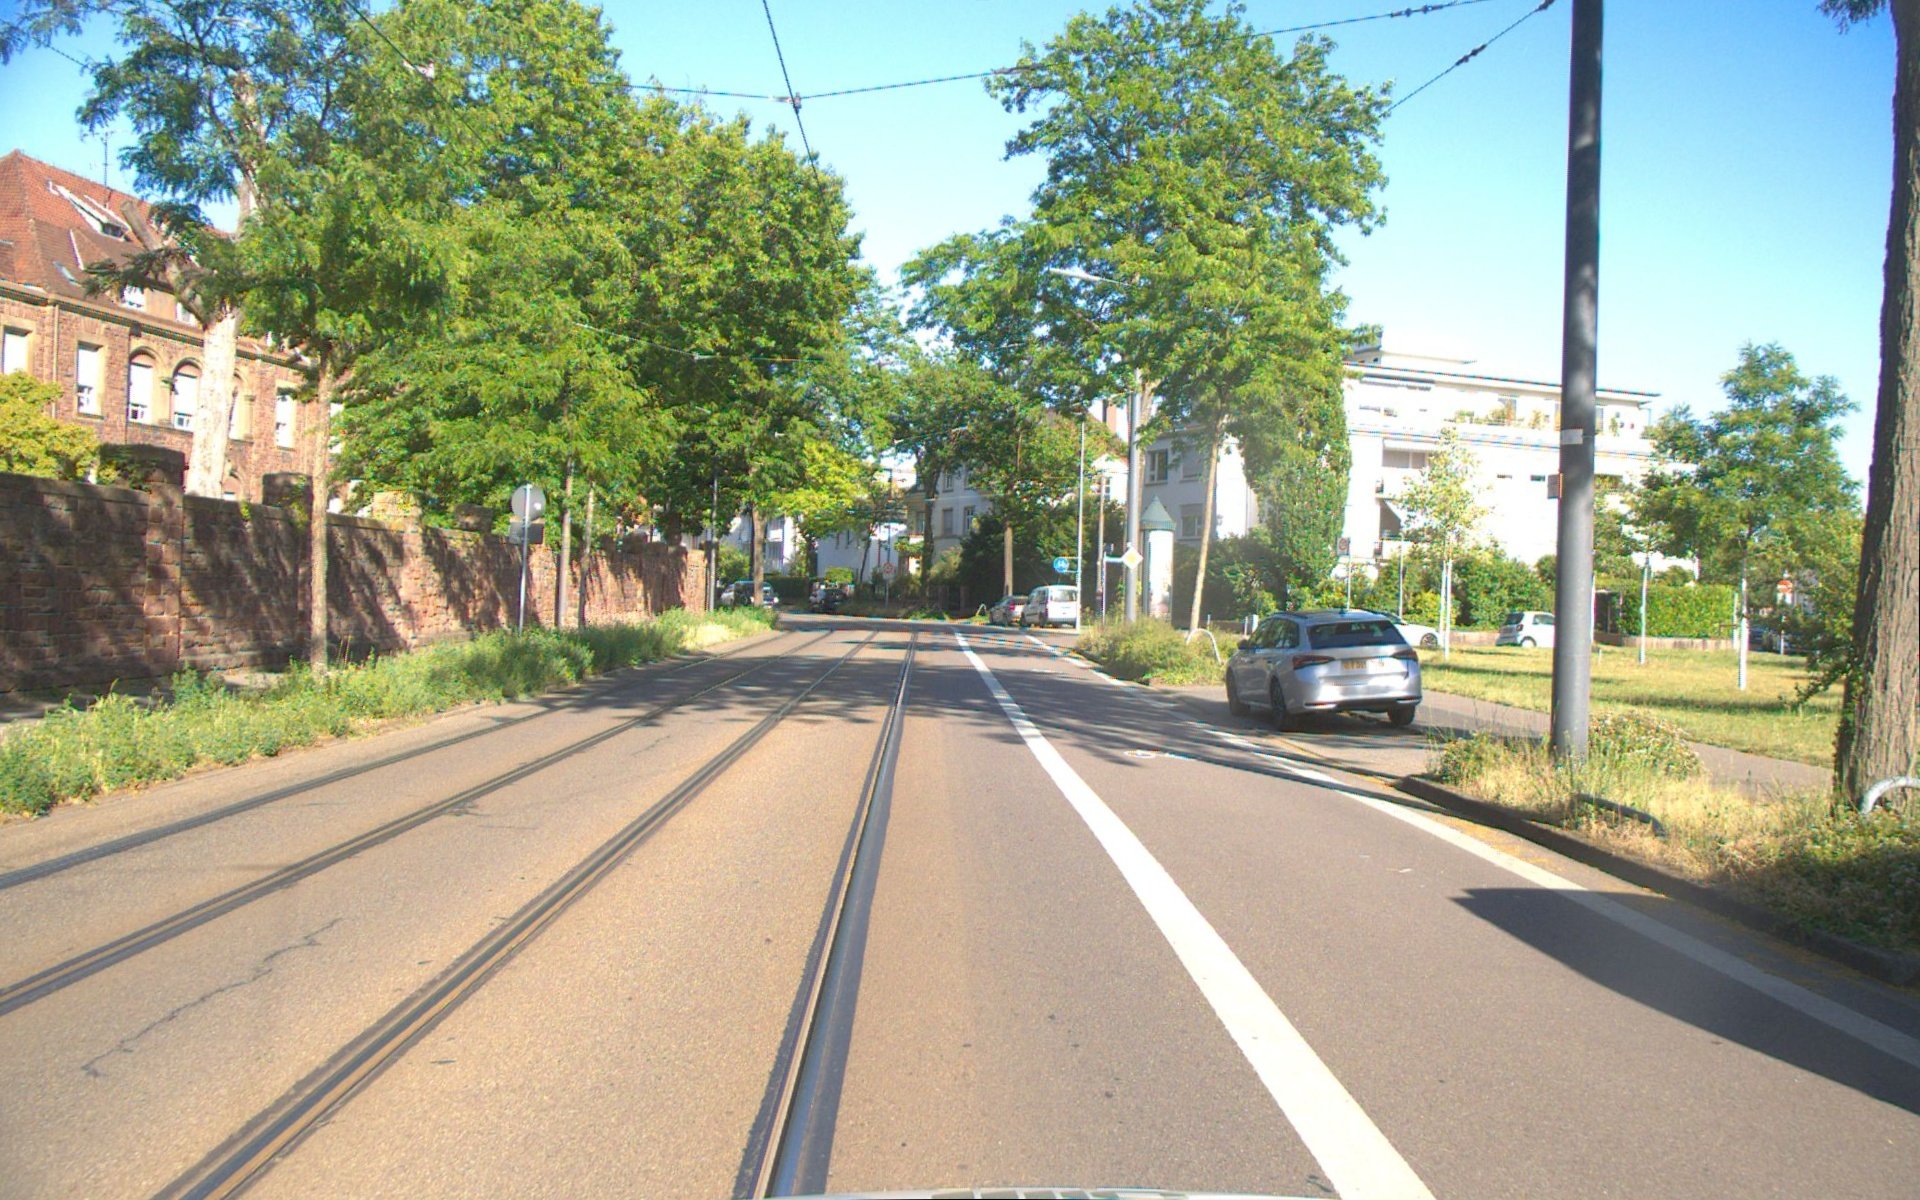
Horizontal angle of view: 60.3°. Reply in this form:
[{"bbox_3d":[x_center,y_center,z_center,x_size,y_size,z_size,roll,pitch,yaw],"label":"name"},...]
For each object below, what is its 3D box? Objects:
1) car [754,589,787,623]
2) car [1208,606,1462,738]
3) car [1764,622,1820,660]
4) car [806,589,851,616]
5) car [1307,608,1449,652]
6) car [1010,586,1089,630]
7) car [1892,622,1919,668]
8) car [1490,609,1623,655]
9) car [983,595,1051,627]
[{"bbox_3d":[-10.578,0.307,92.492,1.600,1.823,4.335,1,0,-3],"label":"car"},{"bbox_3d":[4.867,0.863,22.369,1.960,1.491,5.430,-2,0,-2],"label":"car"},{"bbox_3d":[40.785,1.999,81.149,2.003,1.738,4.287,2,0,21],"label":"car"},{"bbox_3d":[-8.798,0.134,110.328,1.778,1.723,4.701,-2,1,-20],"label":"car"},{"bbox_3d":[14.537,1.040,57.527,4.442,1.393,1.958,2,0,-19],"label":"car"},{"bbox_3d":[3.896,0.328,72.724,1.990,1.777,4.731,1,0,-16],"label":"car"},{"bbox_3d":[32.553,1.515,52.755,2.028,1.496,4.728,2,0,-20],"label":"car"},{"bbox_3d":[21.514,1.187,59.712,4.206,1.537,1.833,2,-3,-13],"label":"car"},{"bbox_3d":[2.684,0.497,78.589,1.962,1.448,4.312,1,0,-17],"label":"car"}]
